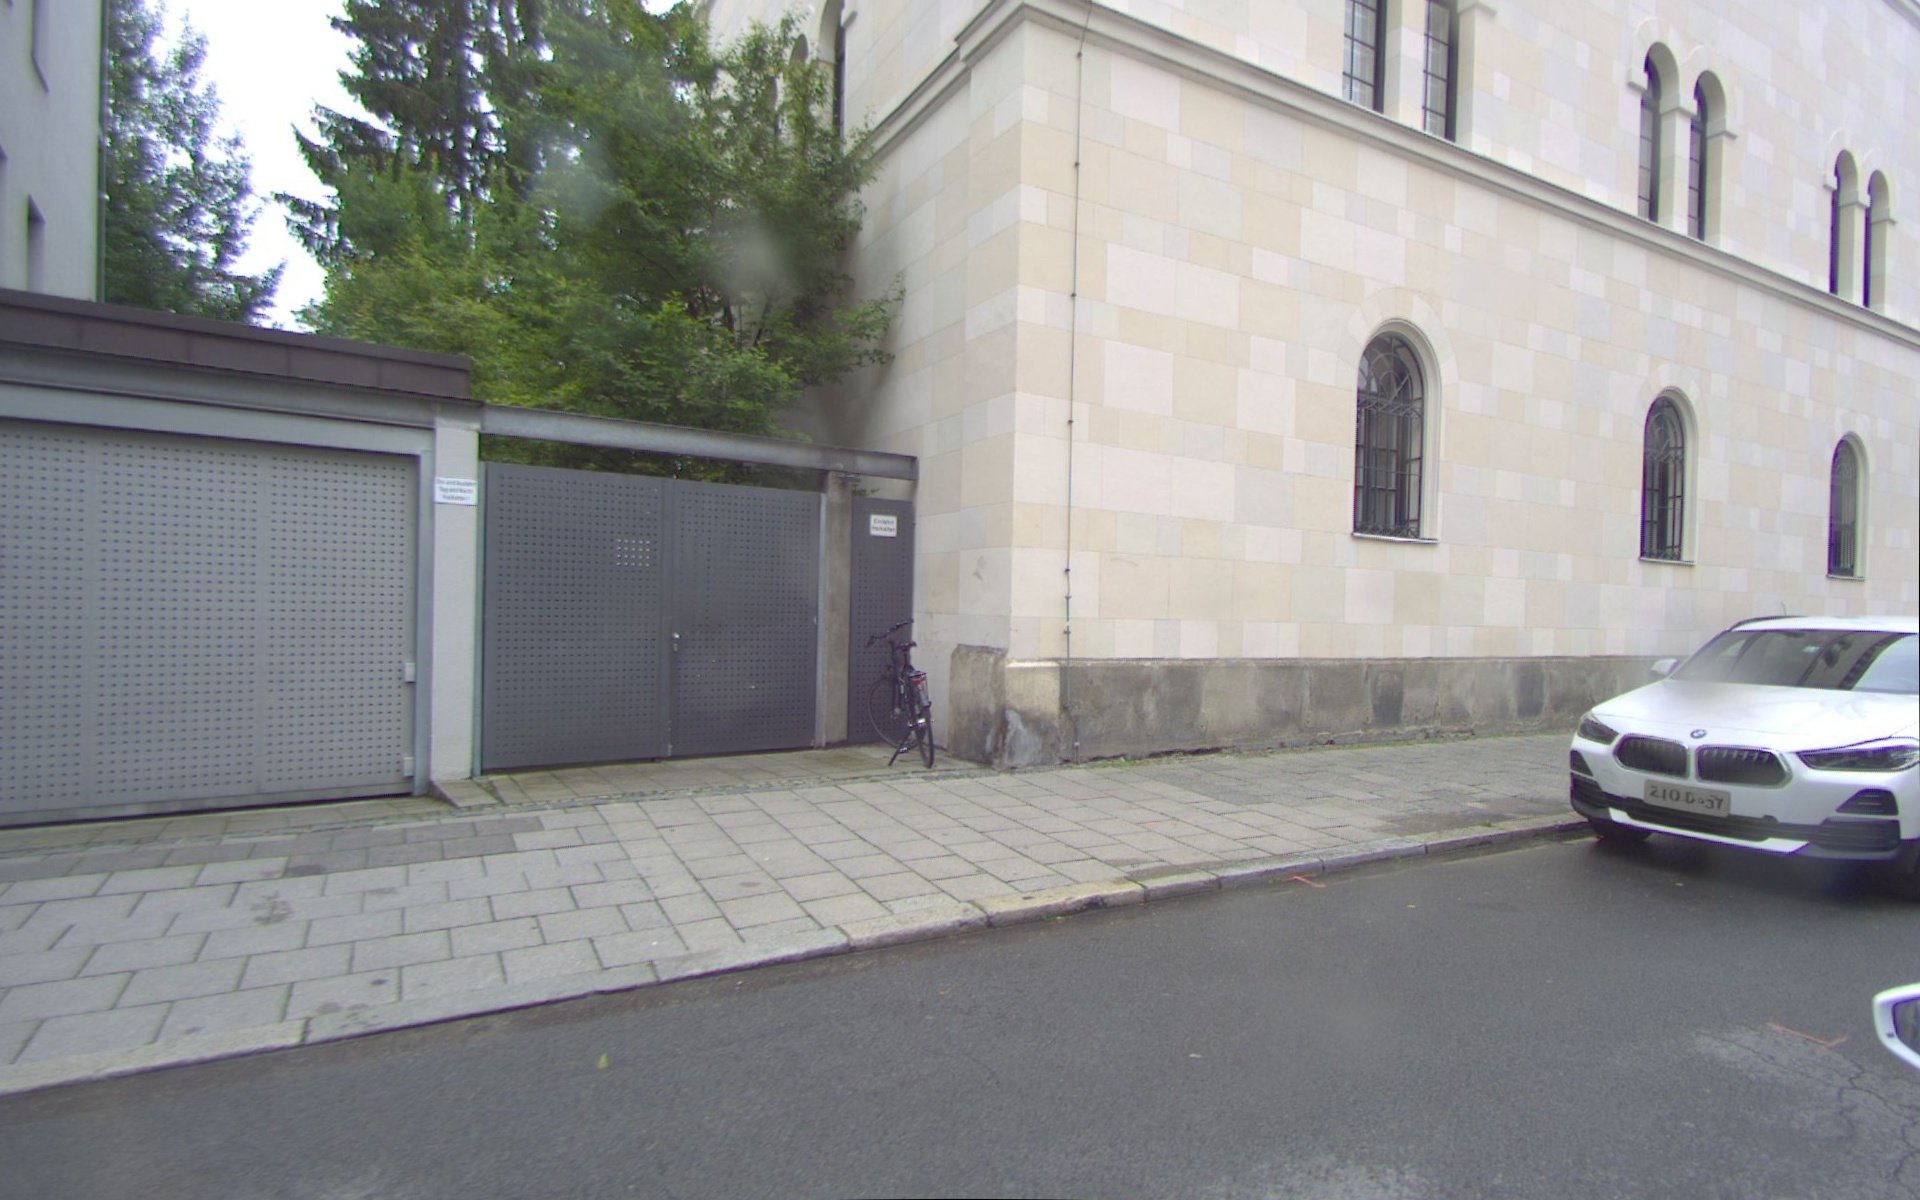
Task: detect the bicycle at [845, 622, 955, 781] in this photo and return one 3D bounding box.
[{"bbox_3d":[-0.553,0.798,8.588,0.468,1.193,1.710,1,0,-20],"label":"bicycle"}]

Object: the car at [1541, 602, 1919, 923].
[{"bbox_3d":[5.942,0.865,6.724,4.163,1.555,1.769,2,-2,-31],"label":"car"}]
